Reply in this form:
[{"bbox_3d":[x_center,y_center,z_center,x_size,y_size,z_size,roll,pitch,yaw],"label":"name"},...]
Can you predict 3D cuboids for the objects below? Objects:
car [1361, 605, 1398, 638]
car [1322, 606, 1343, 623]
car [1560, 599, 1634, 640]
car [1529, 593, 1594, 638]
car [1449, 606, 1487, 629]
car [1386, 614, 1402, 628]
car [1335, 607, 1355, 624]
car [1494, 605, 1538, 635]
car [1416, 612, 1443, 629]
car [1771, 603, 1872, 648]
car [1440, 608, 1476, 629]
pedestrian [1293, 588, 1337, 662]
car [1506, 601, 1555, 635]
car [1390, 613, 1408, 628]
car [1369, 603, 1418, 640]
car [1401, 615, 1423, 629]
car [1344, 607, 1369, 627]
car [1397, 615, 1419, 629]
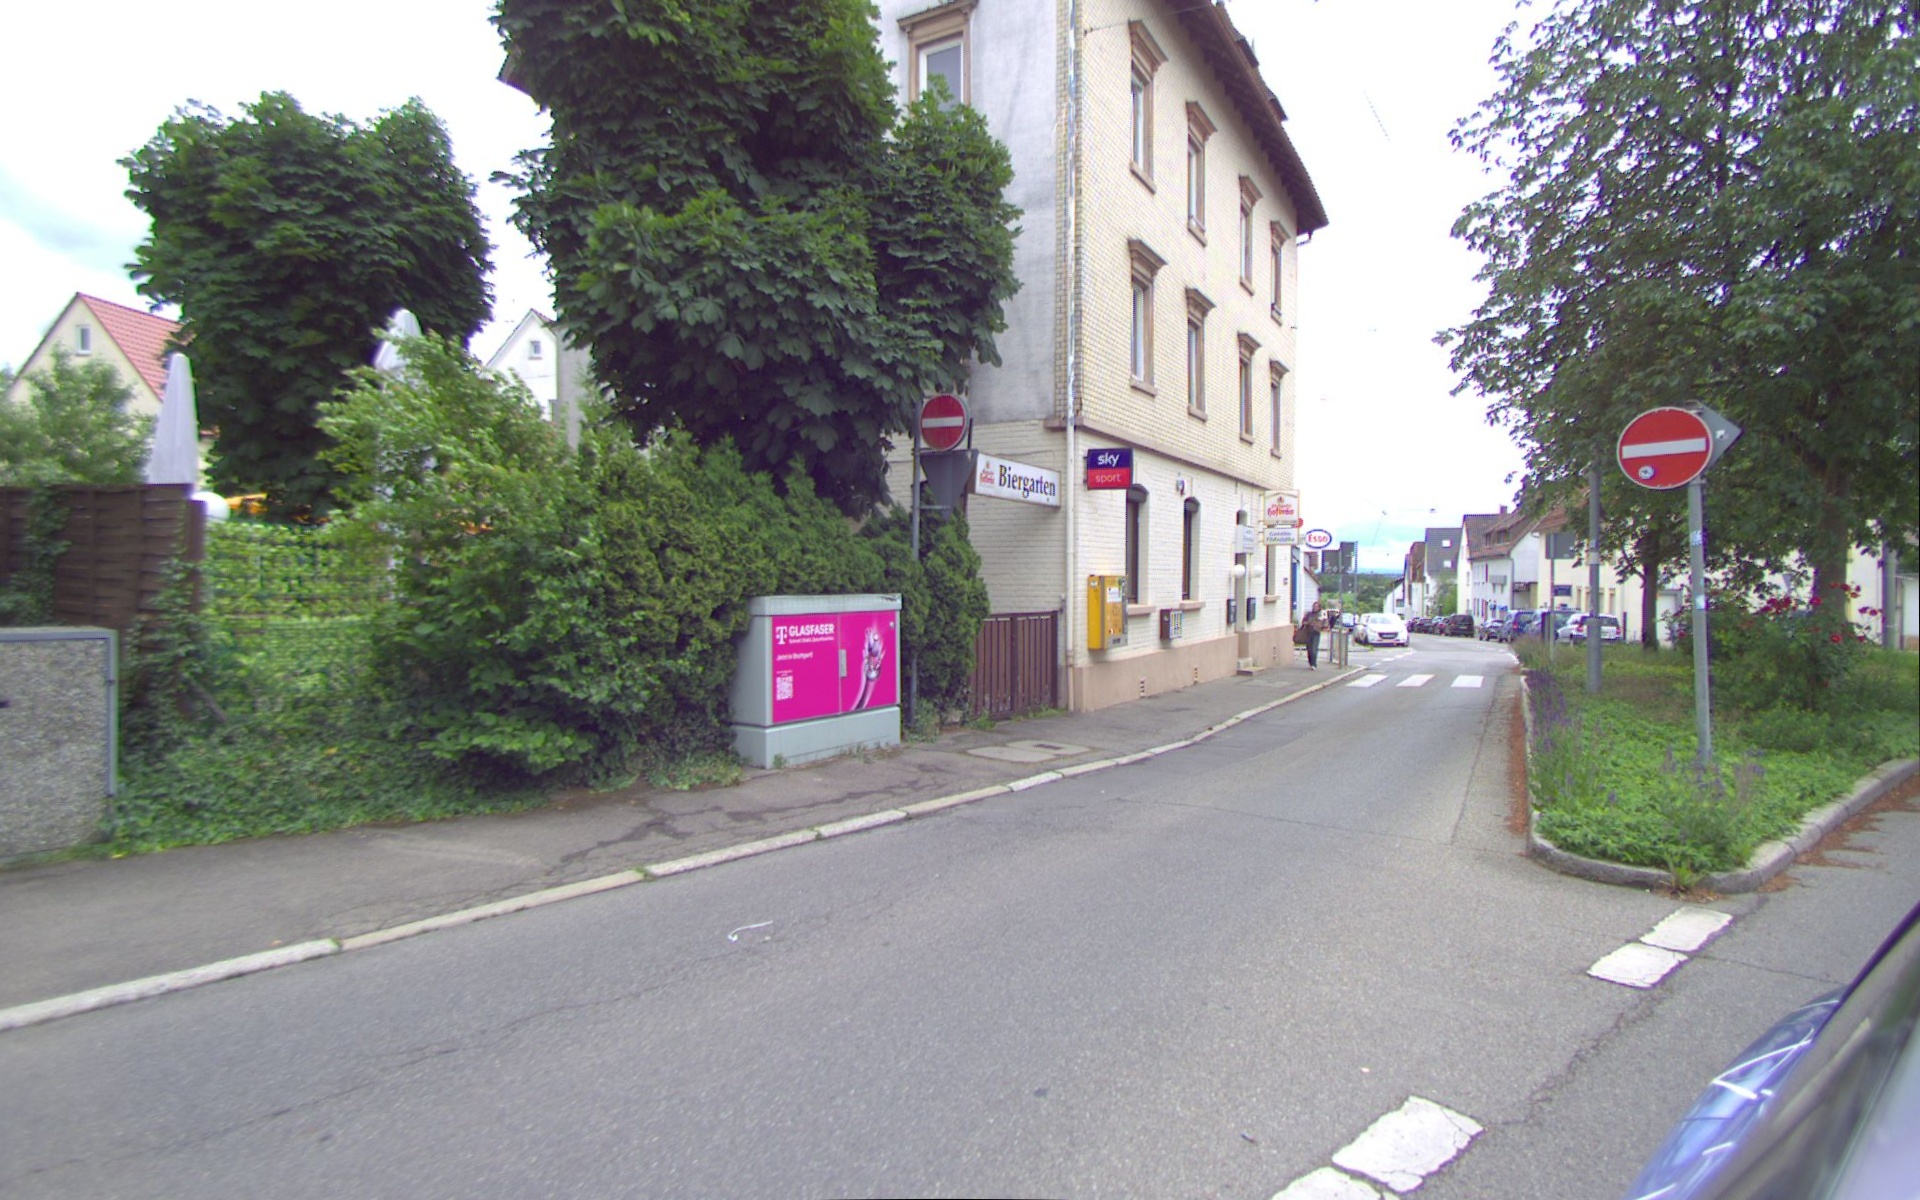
[{"bbox_3d":[20.826,1.042,50.360,1.608,1.493,3.741,1,1,21],"label":"car"},{"bbox_3d":[36.269,1.431,98.468,1.853,1.616,3.872,0,-2,21],"label":"car"},{"bbox_3d":[26.627,0.841,42.441,1.752,1.639,3.973,0,-2,19],"label":"car"},{"bbox_3d":[28.766,0.781,48.530,1.753,1.968,4.295,3,-1,19],"label":"car"},{"bbox_3d":[39.976,1.431,79.710,2.254,1.753,3.971,0,-2,21],"label":"car"},{"bbox_3d":[65.282,3.143,152.285,1.974,2.040,3.974,0,-2,19],"label":"car"},{"bbox_3d":[39.012,1.563,102.709,1.853,1.616,3.872,0,-2,21],"label":"car"},{"bbox_3d":[33.135,1.214,60.392,1.701,1.753,3.971,0,-2,20],"label":"car"},{"bbox_3d":[47.853,2.104,103.210,2.254,1.753,3.971,0,-2,21],"label":"car"},{"bbox_3d":[35.421,1.040,41.750,1.846,1.750,3.972,0,-2,20],"label":"car"},{"bbox_3d":[41.925,1.591,85.289,2.254,1.753,3.971,0,-2,21],"label":"car"},{"bbox_3d":[8.640,0.606,24.598,0.853,1.755,1.011,-1,-2,29],"label":"pedestrian"},{"bbox_3d":[31.215,1.010,55.453,1.701,1.753,3.971,0,-2,20],"label":"car"},{"bbox_3d":[61.492,2.842,141.859,1.974,2.040,3.975,0,-2,18],"label":"car"},{"bbox_3d":[19.495,0.982,45.633,1.753,1.498,3.804,3,-1,20],"label":"car"},{"bbox_3d":[56.322,2.765,126.057,2.254,1.753,3.971,0,-2,21],"label":"car"},{"bbox_3d":[33.671,1.445,86.019,1.853,1.616,3.872,0,-2,21],"label":"car"},{"bbox_3d":[58.060,2.913,131.231,2.254,1.753,3.971,0,-2,21],"label":"car"}]
